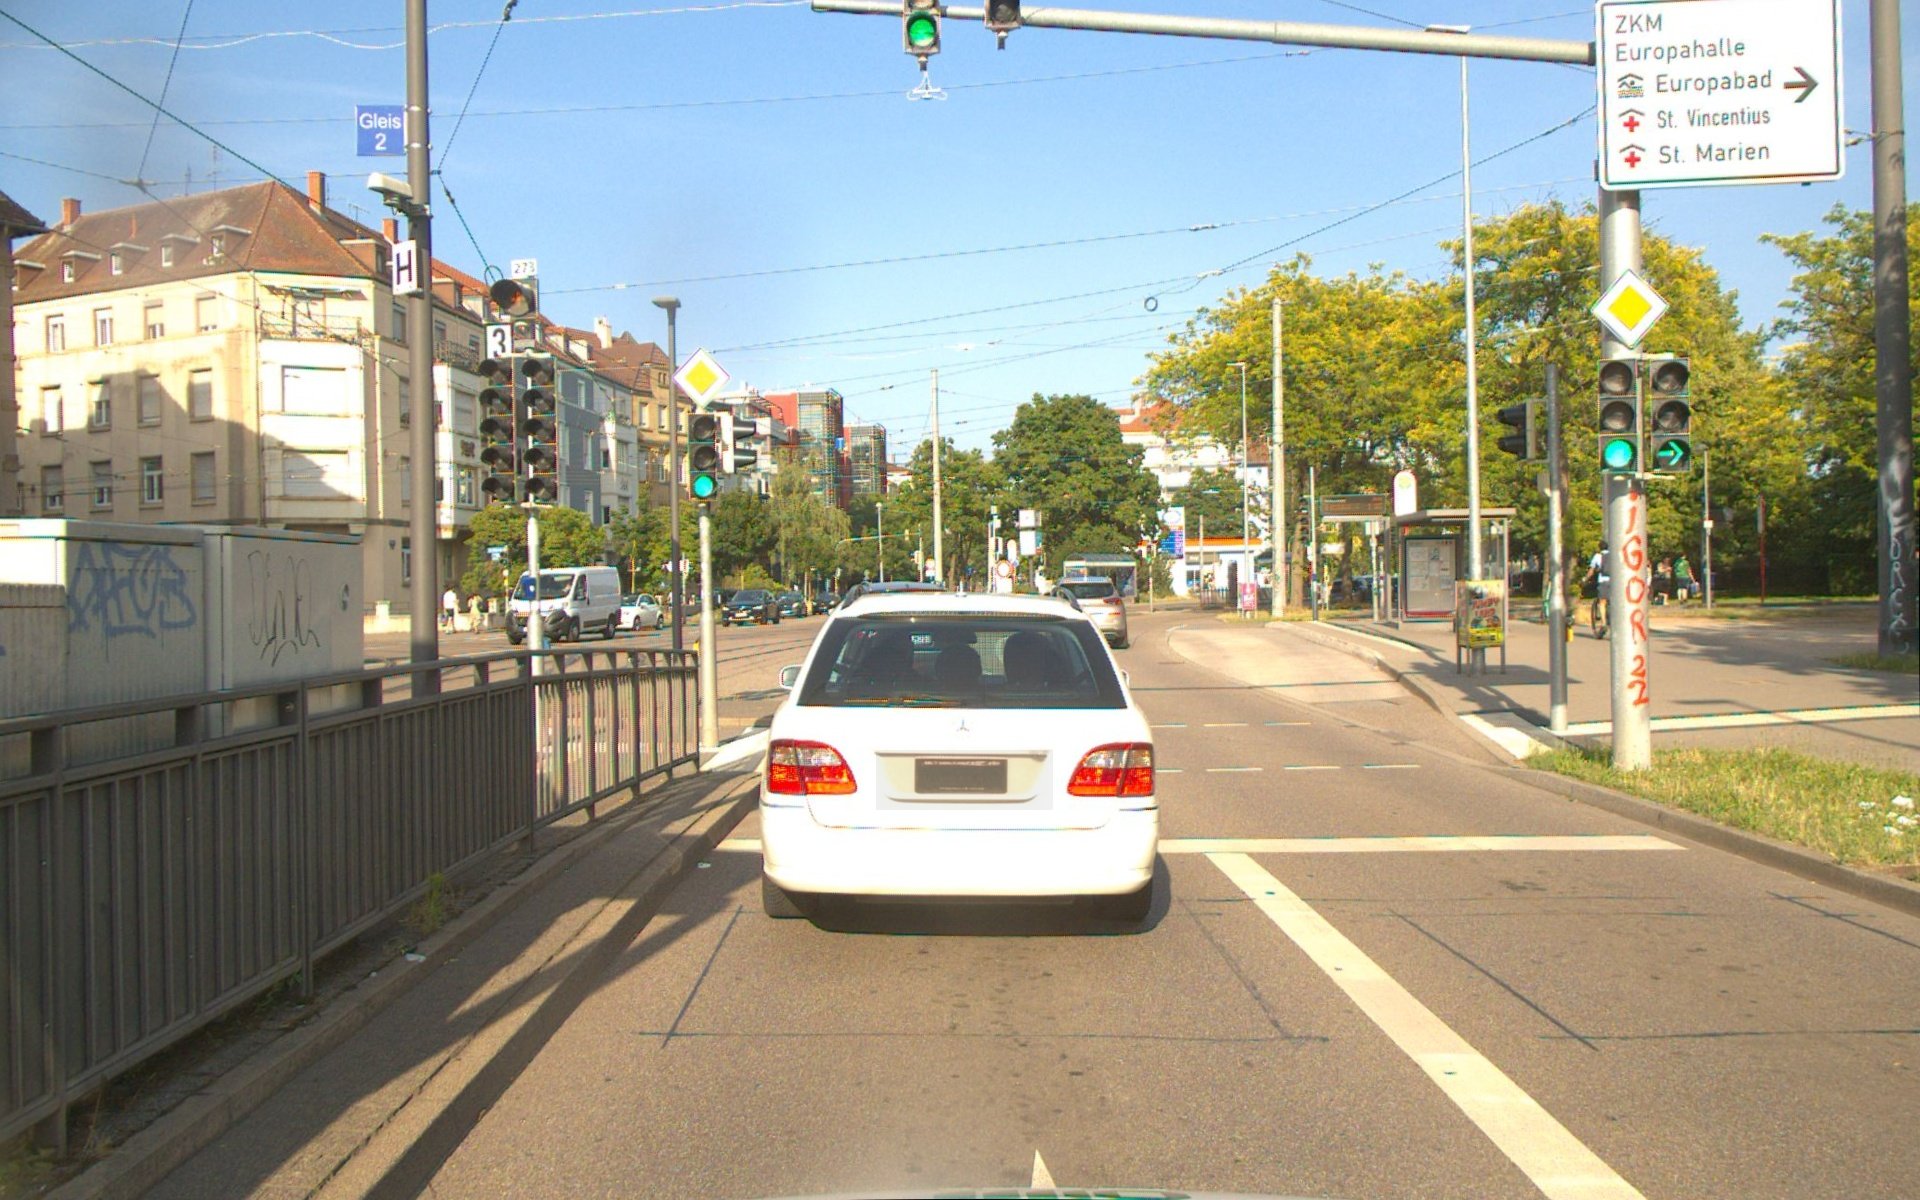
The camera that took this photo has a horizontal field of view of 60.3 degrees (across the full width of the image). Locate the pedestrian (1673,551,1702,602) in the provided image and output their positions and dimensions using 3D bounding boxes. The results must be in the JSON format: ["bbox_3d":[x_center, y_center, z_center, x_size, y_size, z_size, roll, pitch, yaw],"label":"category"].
[{"bbox_3d":[24.663,-0.791,56.092,0.628,1.694,0.690,-1,0,-1],"label":"pedestrian"}]

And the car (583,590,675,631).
[{"bbox_3d":[-13.139,0.387,65.826,1.757,1.482,4.001,-1,1,20],"label":"car"}]

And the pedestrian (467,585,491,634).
[{"bbox_3d":[-18.607,0.356,64.012,0.660,1.880,0.650,-1,0,2],"label":"pedestrian"}]

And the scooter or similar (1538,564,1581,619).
[{"bbox_3d":[14.044,-0.203,38.746,0.345,1.253,1.131,-1,0,-15],"label":"scooter or similar"}]

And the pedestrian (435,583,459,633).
[{"bbox_3d":[-19.902,0.318,64.173,0.644,1.914,0.627,-1,0,14],"label":"pedestrian"}]

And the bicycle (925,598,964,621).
[{"bbox_3d":[-0.769,0.480,82.848,1.875,1.011,0.726,-3,0,-1],"label":"bicycle"}]

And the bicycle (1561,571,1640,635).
[{"bbox_3d":[11.993,0.052,31.028,0.627,1.107,1.939,-4,0,-1],"label":"bicycle"}]

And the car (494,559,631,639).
[{"bbox_3d":[-12.053,-0.067,50.528,2.130,2.278,5.258,-1,1,9],"label":"car"}]

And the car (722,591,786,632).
[{"bbox_3d":[-8.874,0.457,71.593,1.729,1.520,4.748,-1,2,5],"label":"car"}]

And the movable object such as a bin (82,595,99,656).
[{"bbox_3d":[-25.575,0.746,48.658,0.261,1.739,2.357,-1,0,-31],"label":"movable object such as a bin"}]

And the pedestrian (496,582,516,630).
[{"bbox_3d":[-18.316,0.225,66.756,0.572,1.914,0.627,-1,0,3],"label":"pedestrian"}]

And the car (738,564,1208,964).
[{"bbox_3d":[0.044,0.619,8.256,1.798,1.527,3.815,0,0,0],"label":"car"}]

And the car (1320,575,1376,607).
[{"bbox_3d":[20.512,-0.472,87.326,1.818,1.542,3.994,-3,0,29],"label":"car"}]

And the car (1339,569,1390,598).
[{"bbox_3d":[22.715,-0.934,92.744,1.818,1.542,3.995,-3,0,28],"label":"car"}]

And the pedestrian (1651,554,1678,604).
[{"bbox_3d":[24.241,-0.712,56.922,0.628,1.694,0.690,-1,0,-1],"label":"pedestrian"}]

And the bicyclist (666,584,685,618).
[{"bbox_3d":[-14.775,0.040,85.905,0.744,1.697,1.167,-1,0,0],"label":"bicyclist"}]

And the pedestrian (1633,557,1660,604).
[{"bbox_3d":[23.958,-0.673,57.734,0.628,1.638,0.690,-1,0,-1],"label":"pedestrian"}]

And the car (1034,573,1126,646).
[{"bbox_3d":[2.755,0.199,38.680,1.798,1.628,3.814,0,0,-1],"label":"car"}]

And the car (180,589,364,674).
[{"bbox_3d":[-14.220,0.608,34.457,1.641,1.552,4.128,-1,2,7],"label":"car"}]

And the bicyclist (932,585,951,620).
[{"bbox_3d":[-0.922,0.123,82.840,0.881,1.728,0.732,-3,0,0],"label":"bicyclist"}]

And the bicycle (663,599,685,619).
[{"bbox_3d":[-14.790,0.437,85.490,0.753,0.982,2.034,-1,1,0],"label":"bicycle"}]

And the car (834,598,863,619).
[{"bbox_3d":[-8.332,0.632,124.170,1.653,1.445,4.001,-1,0,3],"label":"car"}]

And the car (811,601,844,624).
[{"bbox_3d":[-8.929,0.823,111.633,1.654,1.466,4.002,-2,1,3],"label":"car"}]

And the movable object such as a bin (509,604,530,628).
[{"bbox_3d":[-18.054,0.651,67.799,0.570,0.963,0.663,-1,0,9],"label":"movable object such as a bin"}]

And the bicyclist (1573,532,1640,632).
[{"bbox_3d":[11.976,-0.322,30.667,0.636,1.776,1.140,-4,0,-2],"label":"bicyclist"}]

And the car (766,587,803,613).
[{"bbox_3d":[-10.280,-0.013,97.153,1.600,1.458,3.630,-1,1,3],"label":"car"}]

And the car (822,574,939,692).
[{"bbox_3d":[-1.123,0.442,24.793,1.608,1.628,3.814,0,0,-1],"label":"car"}]

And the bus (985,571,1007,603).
[{"bbox_3d":[3.003,-1.103,138.698,1.760,2.600,4.000,1,0,1],"label":"bus"}]

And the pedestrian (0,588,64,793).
[{"bbox_3d":[-8.251,0.758,14.054,0.862,1.699,0.672,-1,0,1],"label":"pedestrian"}]
